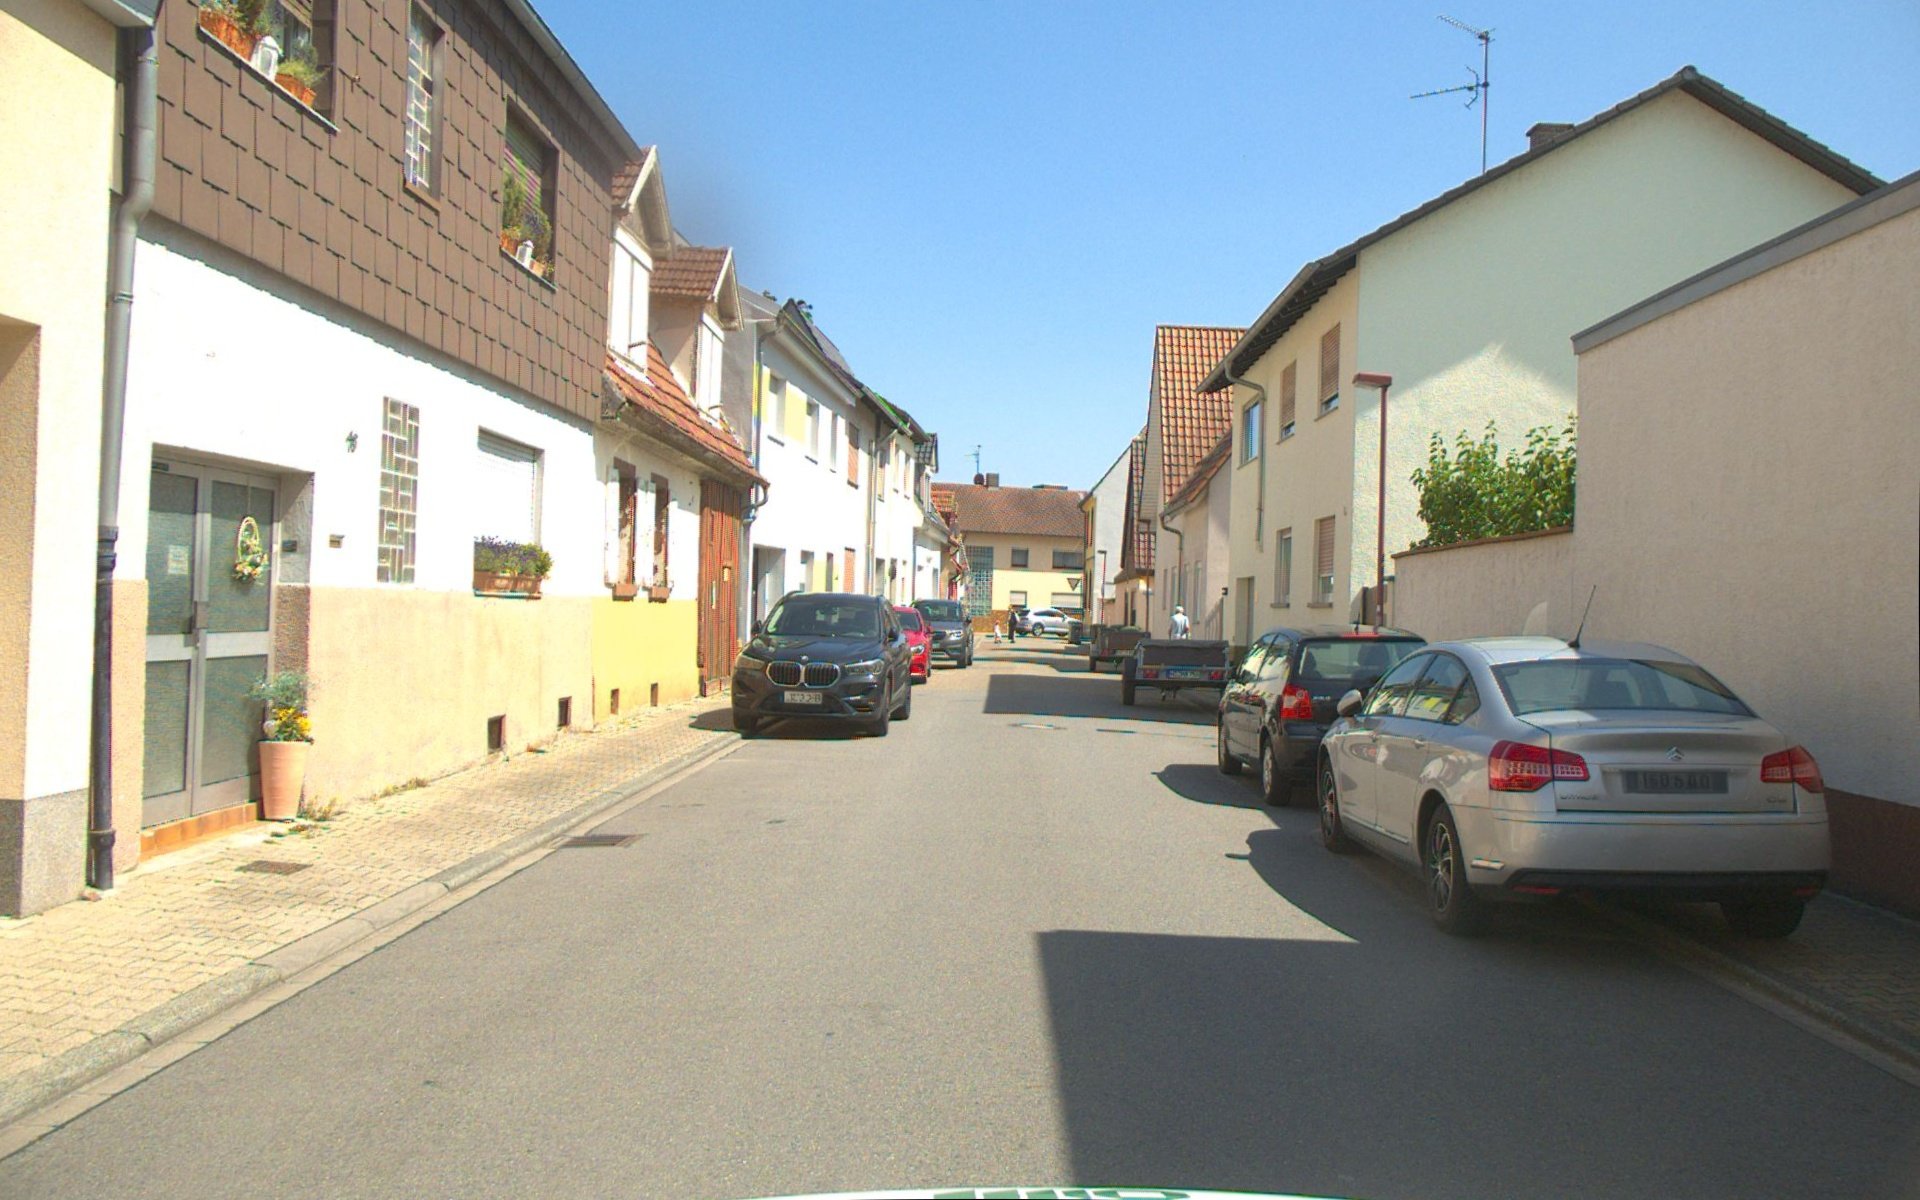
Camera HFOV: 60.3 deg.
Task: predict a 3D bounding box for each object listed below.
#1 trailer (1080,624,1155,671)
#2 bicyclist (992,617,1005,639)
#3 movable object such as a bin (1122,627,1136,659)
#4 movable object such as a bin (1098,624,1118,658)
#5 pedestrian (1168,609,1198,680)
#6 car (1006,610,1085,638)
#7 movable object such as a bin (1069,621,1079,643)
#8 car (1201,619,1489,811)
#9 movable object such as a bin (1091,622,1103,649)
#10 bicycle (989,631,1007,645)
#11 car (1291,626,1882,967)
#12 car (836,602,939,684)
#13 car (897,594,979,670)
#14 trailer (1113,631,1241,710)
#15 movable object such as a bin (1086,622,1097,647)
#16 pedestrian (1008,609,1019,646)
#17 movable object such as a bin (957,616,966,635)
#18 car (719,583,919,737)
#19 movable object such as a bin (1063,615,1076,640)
[{"bbox_3d":[3.979,1.185,42.123,1.664,1.051,3.482,2,0,2],"label":"trailer"},{"bbox_3d":[1.704,1.252,73.855,0.456,0.976,0.349,2,-3,-27],"label":"bicyclist"},{"bbox_3d":[5.990,1.518,58.660,0.448,1.106,0.502,1,-1,1],"label":"movable object such as a bin"},{"bbox_3d":[4.684,1.292,52.237,0.573,1.051,0.595,1,-1,1],"label":"movable object such as a bin"},{"bbox_3d":[5.104,1.020,37.898,0.583,1.592,0.557,2,-4,0],"label":"pedestrian"},{"bbox_3d":[5.384,1.512,103.957,4.696,1.613,1.784,2,-1,-29],"label":"car"},{"bbox_3d":[5.333,1.482,77.142,0.415,0.992,0.473,1,-1,0],"label":"movable object such as a bin"},{"bbox_3d":[3.317,0.924,15.010,1.615,1.461,4.134,2,-1,0],"label":"car"},{"bbox_3d":[6.131,1.586,73.982,0.514,1.147,0.366,1,-1,-1],"label":"movable object such as a bin"},{"bbox_3d":[1.706,1.706,73.864,0.436,0.577,0.931,2,0,-26],"label":"bicycle"},{"bbox_3d":[3.307,0.919,9.903,1.754,1.507,4.934,0,-1,1],"label":"car"},{"bbox_3d":[-1.363,0.822,32.743,1.763,1.466,4.487,2,-1,1],"label":"car"},{"bbox_3d":[-0.491,0.761,40.503,1.762,1.734,4.488,1,-1,2],"label":"car"},{"bbox_3d":[3.505,1.122,27.221,1.779,1.109,3.482,2,0,3],"label":"trailer"},{"bbox_3d":[6.086,1.613,76.551,0.416,1.147,0.414,1,-1,0],"label":"movable object such as a bin"},{"bbox_3d":[2.388,1.235,74.133,0.403,1.638,0.367,2,-1,-8],"label":"pedestrian"},{"bbox_3d":[0.091,1.303,83.367,0.439,0.937,0.404,1,-1,0],"label":"movable object such as a bin"},{"bbox_3d":[-1.579,0.673,20.129,1.762,1.601,4.616,1,-1,3],"label":"car"},{"bbox_3d":[5.157,1.297,77.760,0.557,1.147,0.453,1,-1,0],"label":"movable object such as a bin"}]
